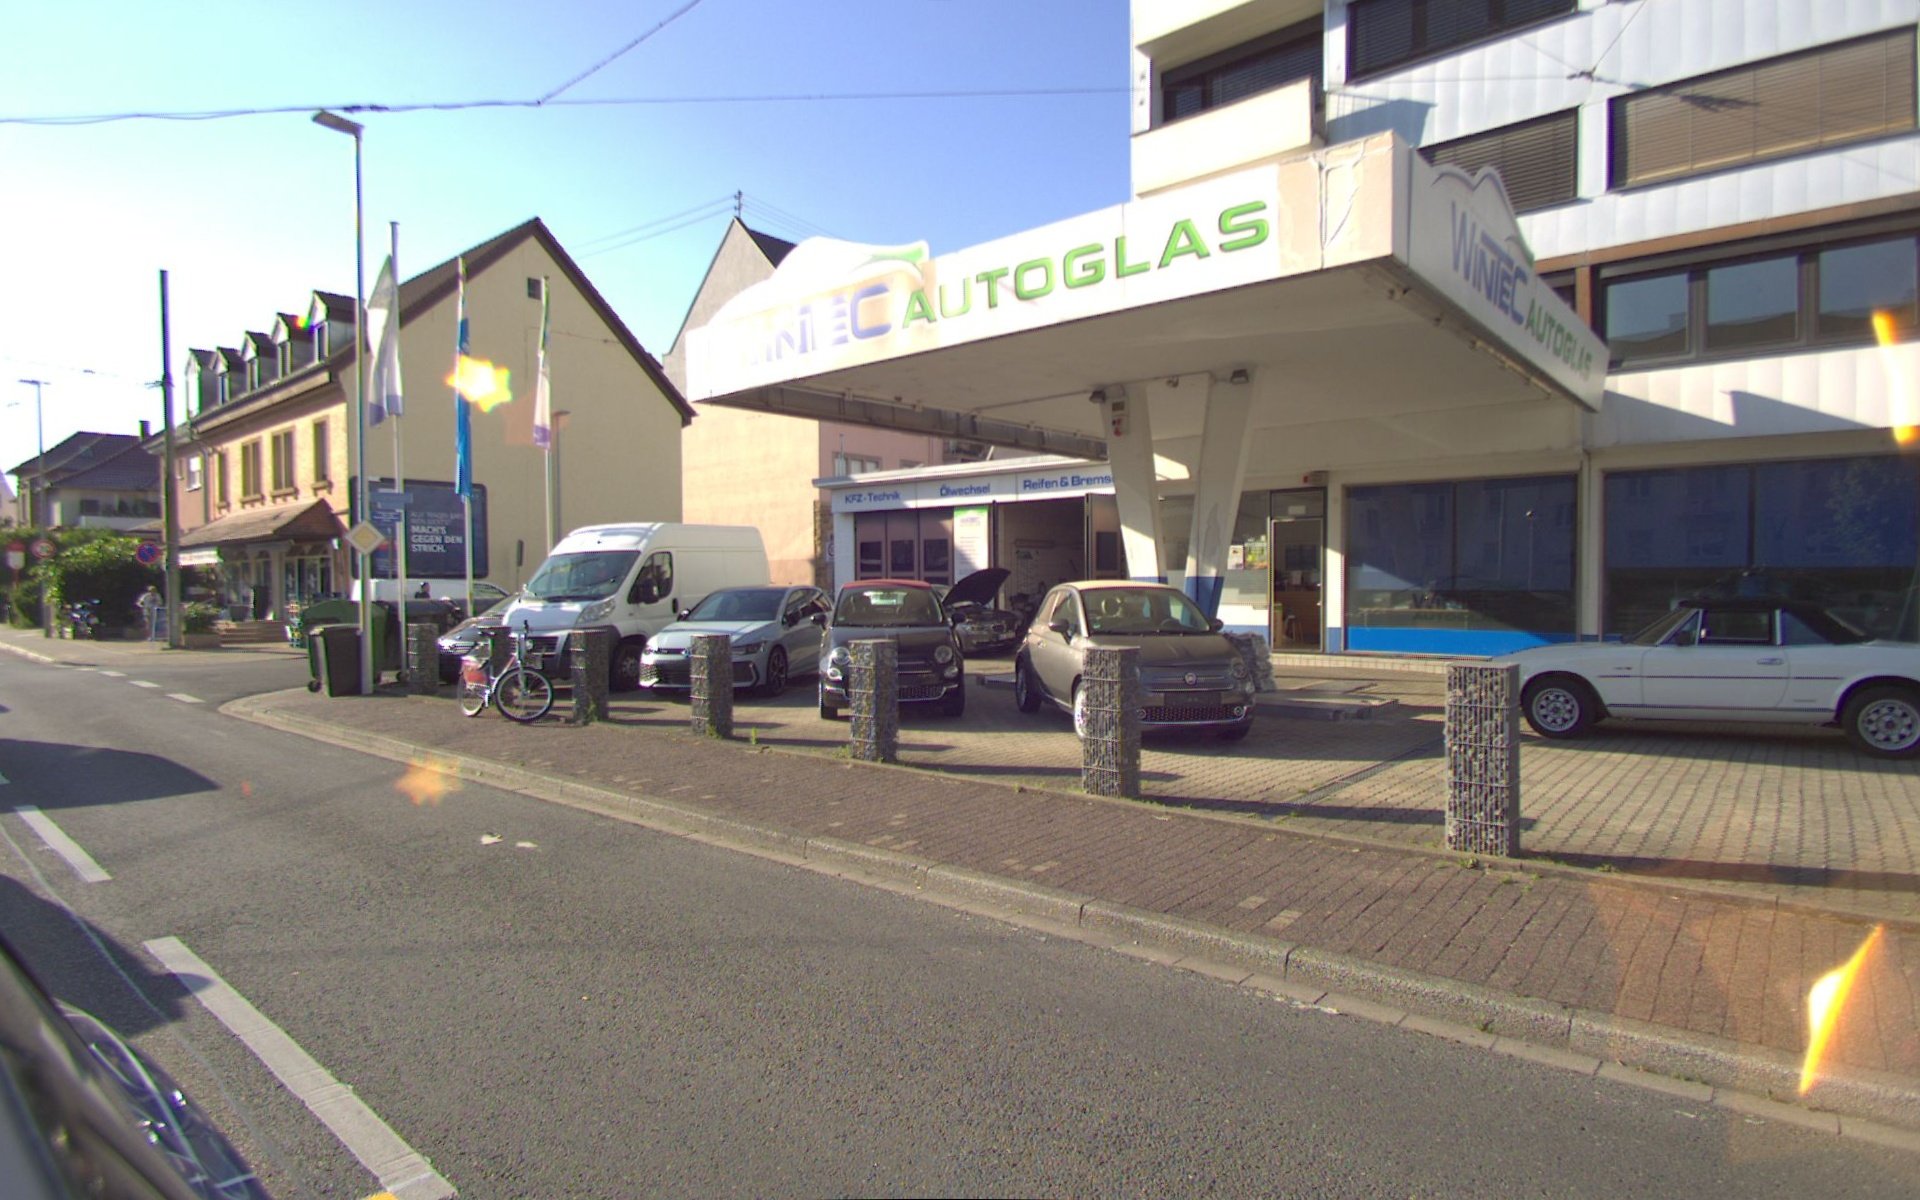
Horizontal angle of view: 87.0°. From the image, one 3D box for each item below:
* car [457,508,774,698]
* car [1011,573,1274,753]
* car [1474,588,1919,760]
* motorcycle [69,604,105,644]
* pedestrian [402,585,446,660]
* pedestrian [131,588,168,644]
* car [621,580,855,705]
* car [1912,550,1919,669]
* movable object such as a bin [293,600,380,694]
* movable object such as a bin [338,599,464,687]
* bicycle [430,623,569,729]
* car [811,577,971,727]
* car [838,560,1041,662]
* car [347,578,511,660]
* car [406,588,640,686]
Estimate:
[{"bbox_3d":[-5.085,0.007,15.852,2.098,2.472,4.961,0,1,19],"label":"car"},{"bbox_3d":[1.661,0.508,10.309,1.517,1.497,3.381,-1,1,-10],"label":"car"},{"bbox_3d":[6.873,0.572,8.997,3.899,1.308,1.506,0,0,38],"label":"car"},{"bbox_3d":[-28.102,0.762,32.560,2.187,1.226,0.699,0,0,44],"label":"motorcycle"},{"bbox_3d":[-13.538,0.547,25.557,0.823,1.866,0.756,0,0,44],"label":"pedestrian"},{"bbox_3d":[-25.648,0.493,32.038,0.859,1.726,0.798,0,0,43],"label":"pedestrian"},{"bbox_3d":[-2.957,0.493,14.400,1.725,1.508,4.015,0,1,13],"label":"car"},{"bbox_3d":[15.027,0.140,13.226,3.627,1.686,1.701,0,0,39],"label":"car"},{"bbox_3d":[-10.103,0.743,16.434,1.030,1.475,0.798,0,0,-17],"label":"movable object such as a bin"},{"bbox_3d":[-9.946,0.732,18.086,1.039,1.475,1.787,0,0,16],"label":"movable object such as a bin"},{"bbox_3d":[-5.369,0.840,11.761,1.790,1.094,0.716,0,1,38],"label":"bicycle"},{"bbox_3d":[-0.947,0.502,12.069,1.569,1.508,3.442,-1,1,-9],"label":"car"},{"bbox_3d":[-0.510,0.204,21.470,4.256,1.958,1.719,0,1,41],"label":"car"},{"bbox_3d":[-14.112,0.461,27.039,1.450,2.029,3.626,0,0,38],"label":"car"},{"bbox_3d":[-7.435,0.546,17.681,1.725,1.488,4.015,0,1,13],"label":"car"}]
